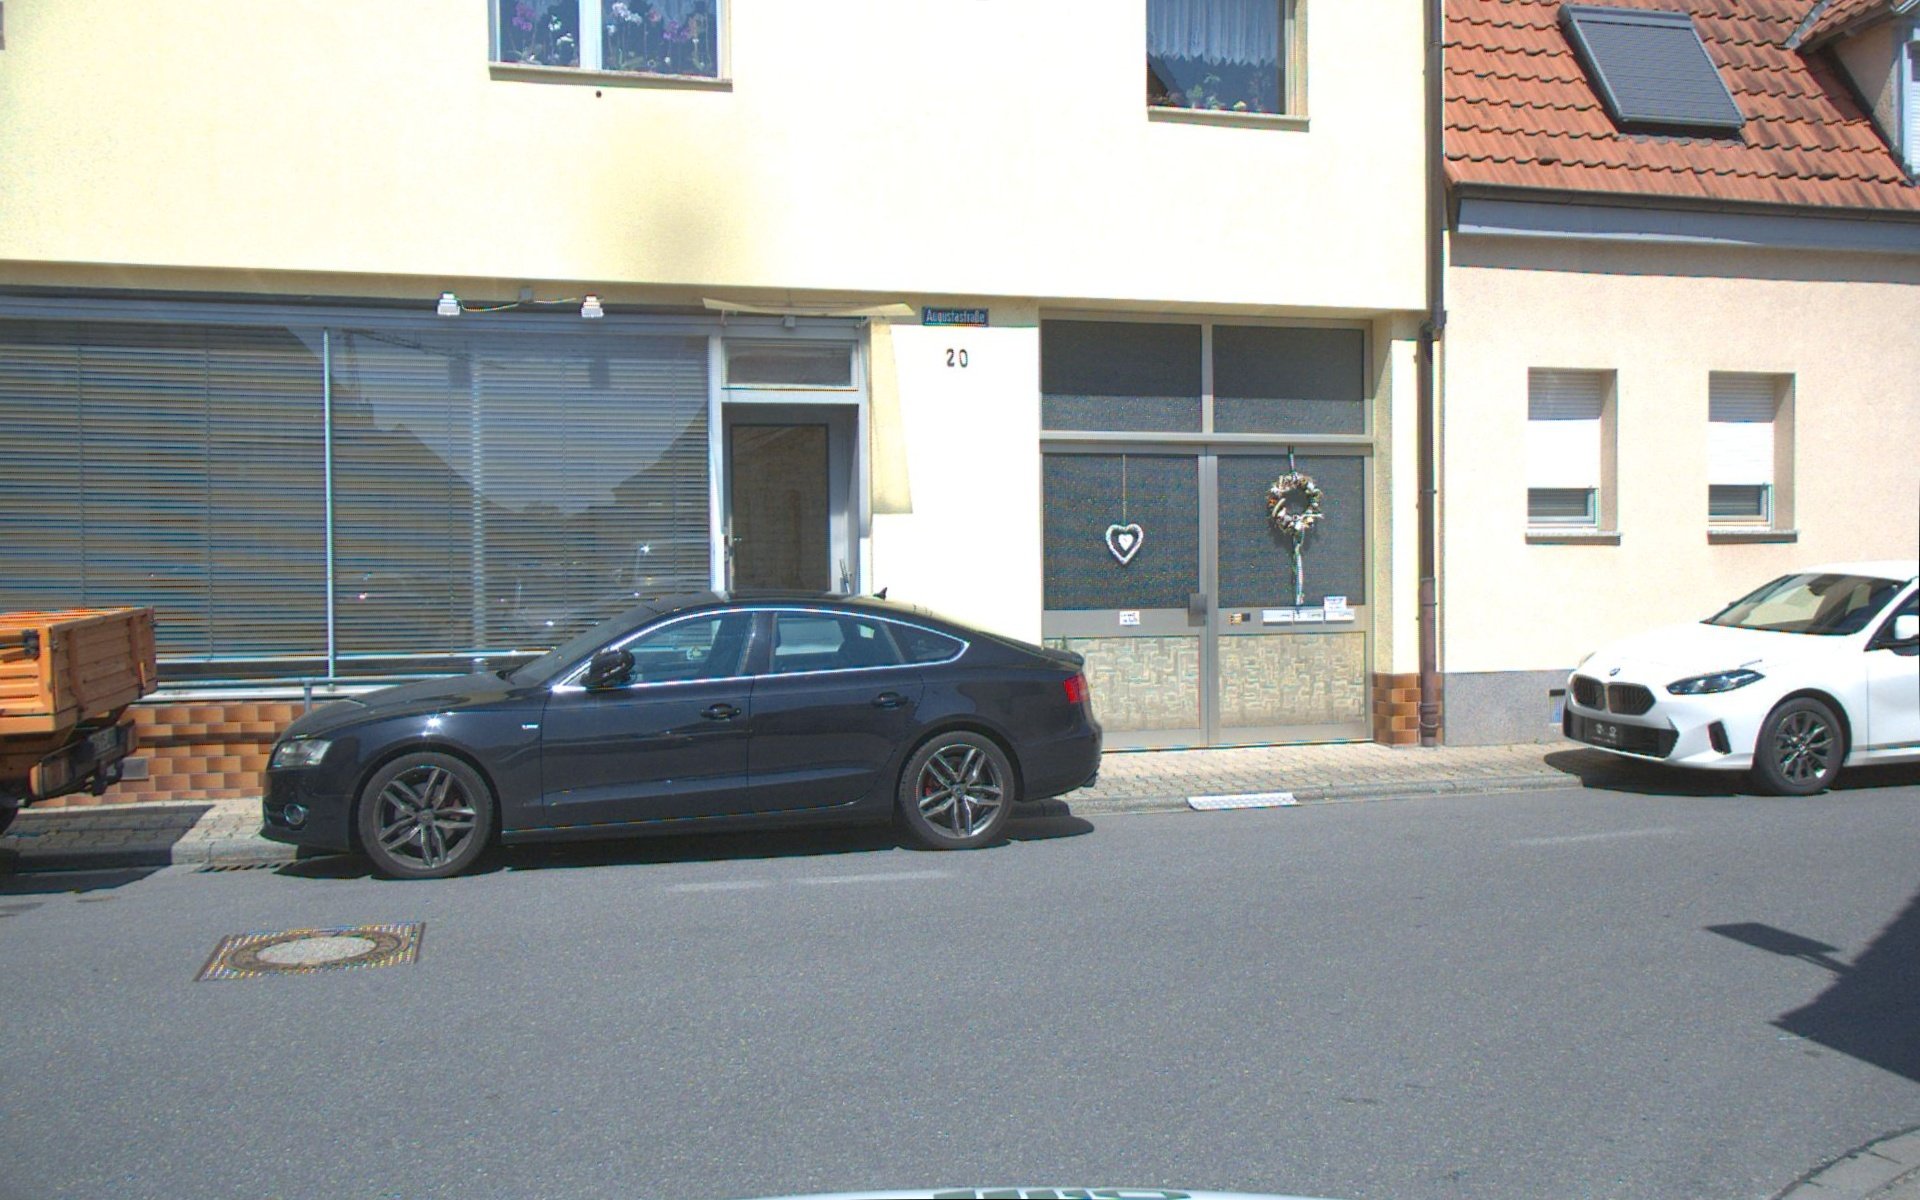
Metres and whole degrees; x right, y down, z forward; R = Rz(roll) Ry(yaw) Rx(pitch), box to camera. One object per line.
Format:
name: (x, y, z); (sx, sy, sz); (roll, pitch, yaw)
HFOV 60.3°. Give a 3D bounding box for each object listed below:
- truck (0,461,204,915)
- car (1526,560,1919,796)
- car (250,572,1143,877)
truck: (-6.597, 0.406, 8.009); (4.978, 2.049, 2.181); (-1, 1, -14)
car: (6.359, 0.463, 11.767); (4.130, 1.479, 1.782); (-1, 1, -14)
car: (-1.435, 0.613, 9.405); (4.541, 1.419, 1.920); (-1, -2, -16)
